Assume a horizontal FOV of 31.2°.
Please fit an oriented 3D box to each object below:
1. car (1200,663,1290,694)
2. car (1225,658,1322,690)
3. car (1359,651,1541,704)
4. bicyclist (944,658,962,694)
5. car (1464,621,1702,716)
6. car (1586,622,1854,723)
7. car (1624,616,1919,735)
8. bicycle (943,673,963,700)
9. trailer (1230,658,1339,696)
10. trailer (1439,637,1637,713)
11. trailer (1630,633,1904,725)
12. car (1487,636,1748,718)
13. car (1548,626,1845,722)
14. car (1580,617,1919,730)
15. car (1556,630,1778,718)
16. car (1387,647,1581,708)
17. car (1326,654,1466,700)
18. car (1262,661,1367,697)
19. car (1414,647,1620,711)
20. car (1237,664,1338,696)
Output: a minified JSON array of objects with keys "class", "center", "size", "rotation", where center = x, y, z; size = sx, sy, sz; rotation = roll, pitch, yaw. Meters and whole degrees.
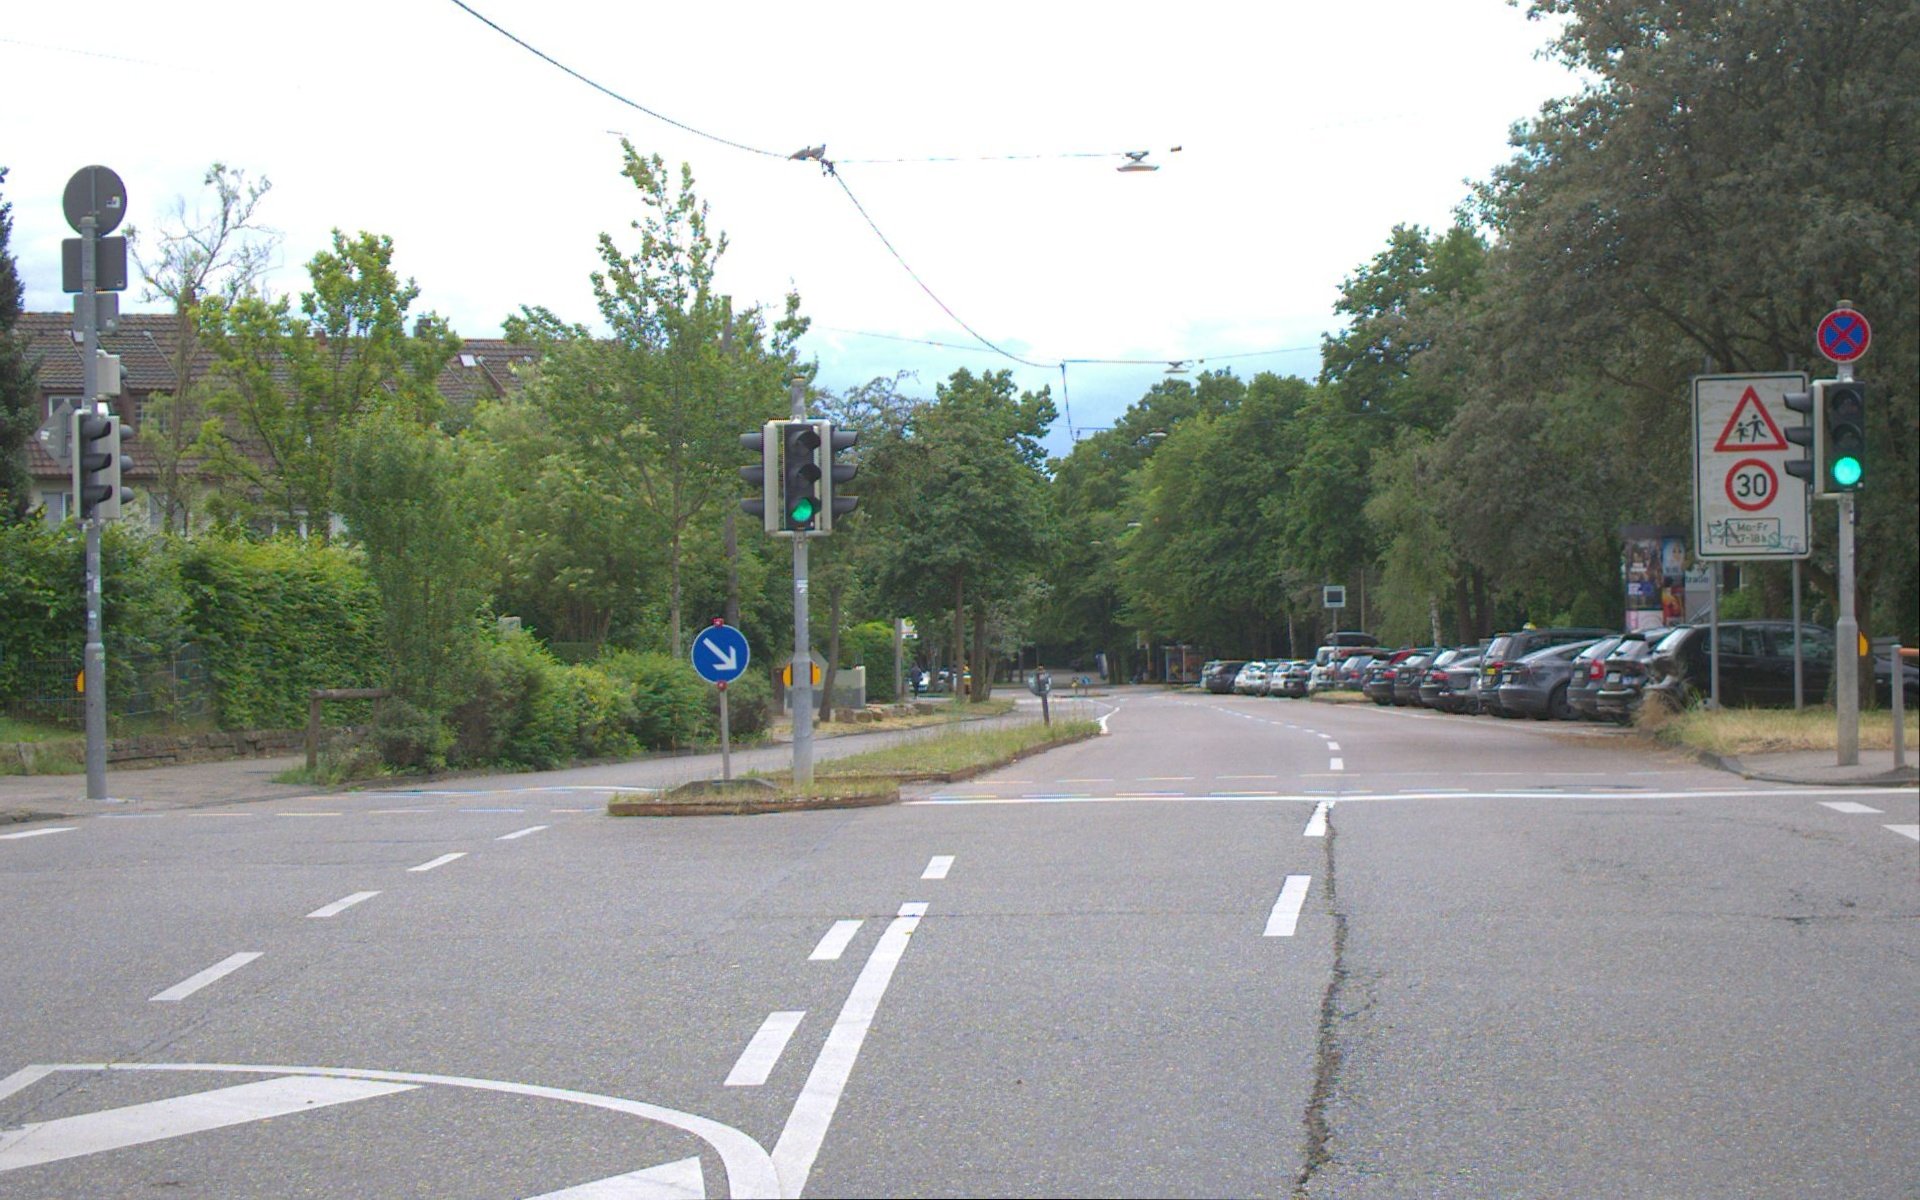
[{"class":"car","center":[13.519,3.725,163.101],"size":[3.883,1.424,1.744],"rotation":[0,-2,-17]},{"class":"car","center":[13.956,3.295,153.075],"size":[3.883,1.424,1.744],"rotation":[0,-2,-17]},{"class":"car","center":[12.650,2.008,88.837],"size":[4.311,1.336,1.734],"rotation":[0,-2,-11]},{"class":"bicyclist","center":[-0.341,3.613,163.884],"size":[0.845,1.692,0.713],"rotation":[0,-1,2]},{"class":"car","center":[11.434,1.264,63.249],"size":[3.985,1.719,1.680],"rotation":[0,-2,-6]},{"class":"car","center":[11.267,1.073,51.053],"size":[3.522,1.471,1.592],"rotation":[0,-1,-9]},{"class":"car","center":[10.382,0.941,43.341],"size":[3.716,1.471,1.576],"rotation":[0,-1,1]},{"class":"bicycle","center":[-0.336,4.118,163.848],"size":[0.845,1.262,2.651],"rotation":[0,-1,1]},{"class":"trailer","center":[13.401,3.187,142.040],"size":[4.153,1.568,1.712],"rotation":[1,-2,-16]},{"class":"trailer","center":[11.899,1.543,70.896],"size":[3.687,1.530,1.646],"rotation":[0,-1,-8]},{"class":"trailer","center":[11.405,1.129,48.696],"size":[3.401,1.262,1.616],"rotation":[0,-2,-6]},{"class":"car","center":[11.530,1.350,60.360],"size":[4.158,1.402,1.698],"rotation":[0,-2,-8]},{"class":"car","center":[11.461,1.148,53.606],"size":[4.218,1.459,1.635],"rotation":[0,-1,-6]},{"class":"car","center":[10.506,0.977,45.815],"size":[4.134,1.471,1.576],"rotation":[0,-1,-7]},{"class":"car","center":[12.009,1.258,58.484],"size":[3.325,1.459,1.635],"rotation":[0,-2,-7]},{"class":"car","center":[12.678,1.865,83.255],"size":[4.343,1.440,1.634],"rotation":[0,-1,-11]},{"class":"car","center":[13.508,2.389,106.635],"size":[3.963,1.401,1.757],"rotation":[1,-1,-12]},{"class":"car","center":[14.405,3.196,139.807],"size":[3.883,1.444,1.744],"rotation":[0,-2,-18]},{"class":"car","center":[11.823,1.682,73.056],"size":[4.036,1.323,1.559],"rotation":[0,-2,-6]},{"class":"car","center":[13.783,3.360,144.707],"size":[3.883,1.305,1.744],"rotation":[0,-2,-21]}]
